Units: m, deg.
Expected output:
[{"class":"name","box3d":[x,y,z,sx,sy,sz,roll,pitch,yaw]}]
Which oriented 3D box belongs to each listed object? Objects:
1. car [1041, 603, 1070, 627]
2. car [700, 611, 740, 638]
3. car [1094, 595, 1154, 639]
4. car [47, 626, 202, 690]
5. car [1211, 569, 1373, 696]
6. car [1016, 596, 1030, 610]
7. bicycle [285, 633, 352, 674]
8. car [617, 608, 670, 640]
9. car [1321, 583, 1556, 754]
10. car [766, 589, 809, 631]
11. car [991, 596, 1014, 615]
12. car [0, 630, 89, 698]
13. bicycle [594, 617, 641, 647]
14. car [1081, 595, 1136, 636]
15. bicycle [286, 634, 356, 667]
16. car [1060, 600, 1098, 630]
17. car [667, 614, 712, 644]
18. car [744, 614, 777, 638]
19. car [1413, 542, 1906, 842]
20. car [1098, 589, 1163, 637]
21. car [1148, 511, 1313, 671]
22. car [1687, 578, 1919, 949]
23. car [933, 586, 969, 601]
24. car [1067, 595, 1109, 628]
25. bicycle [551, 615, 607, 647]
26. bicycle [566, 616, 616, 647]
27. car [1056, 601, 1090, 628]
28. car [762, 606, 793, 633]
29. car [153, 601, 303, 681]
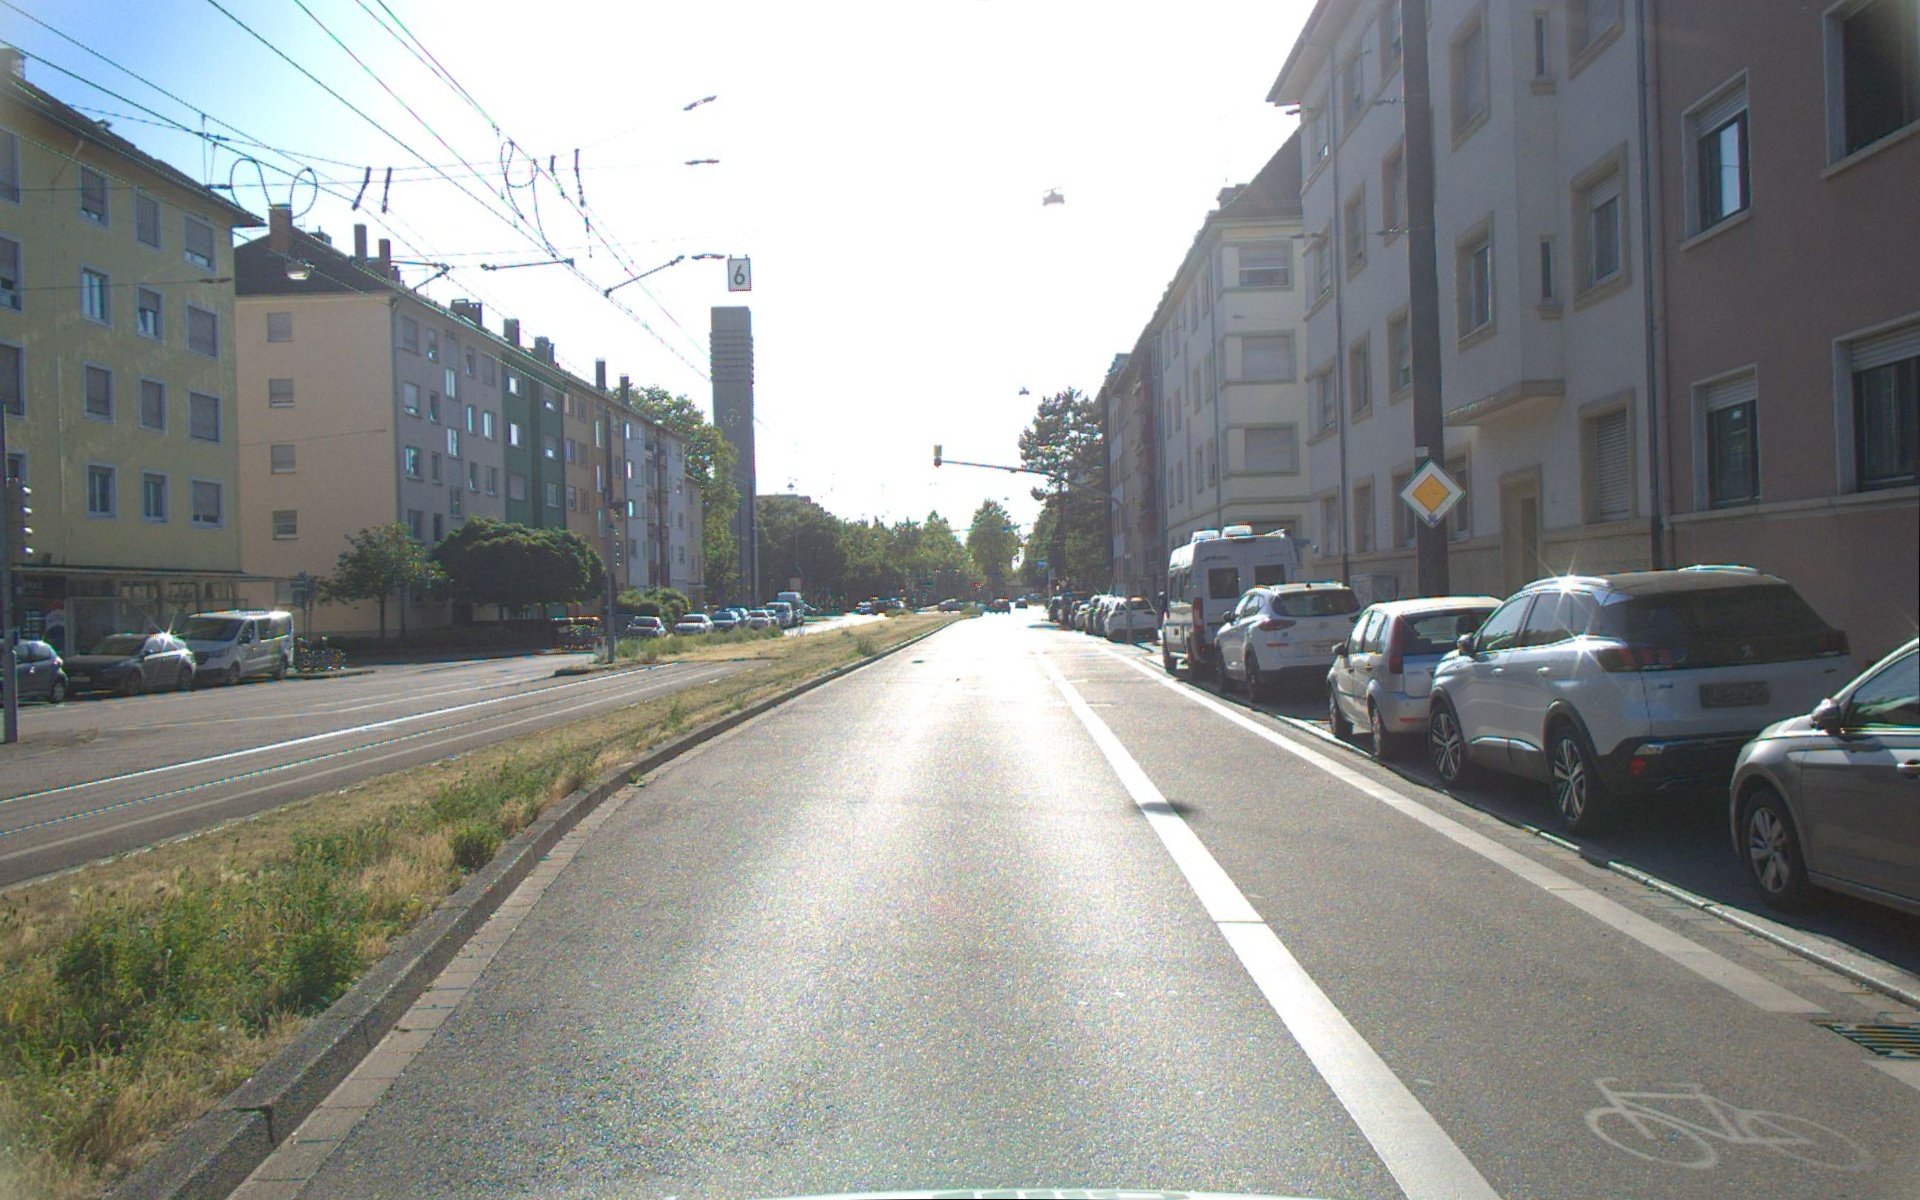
[{"class":"car","box3d":[6.896,1.094,119.299,1.858,1.514,3.739,-2,-2,0]},{"class":"car","box3d":[-15.485,1.592,106.941,1.953,1.581,3.999,-2,-2,-1]},{"class":"car","box3d":[6.316,0.689,63.997,1.858,1.514,3.738,-2,-2,-1]},{"class":"car","box3d":[-21.204,1.481,42.148,1.727,1.514,3.918,-2,-2,4]},{"class":"car","box3d":[4.908,0.461,24.925,1.557,1.663,3.918,-4,0,0]},{"class":"car","box3d":[8.752,0.425,229.907,1.806,1.716,3.999,-2,-2,0]},{"class":"bicycle","box3d":[-20.454,1.702,52.774,1.939,1.227,0.691,-1,-3,-26]},{"class":"car","box3d":[-16.023,1.235,83.915,1.953,1.479,3.998,-2,-2,-1]},{"class":"car","box3d":[4.713,0.622,16.720,1.471,1.450,3.454,-4,0,3]},{"class":"car","box3d":[-14.785,0.924,142.433,2.925,3.295,6.791,-2,-2,-1]},{"class":"car","box3d":[4.485,0.645,176.262,1.955,1.814,3.994,-2,-2,-6]},{"class":"car","box3d":[-21.499,1.442,37.146,1.663,1.451,3.768,-2,-1,4]},{"class":"bicycle","box3d":[-16.078,1.493,77.625,2.093,1.348,0.893,-1,-3,-16]},{"class":"car","box3d":[6.200,0.673,69.315,1.858,1.514,3.738,-2,-2,-1]},{"class":"bicycle","box3d":[-21.057,1.665,54.528,2.037,1.040,0.801,-1,-2,-12]},{"class":"car","box3d":[6.695,0.858,93.342,1.858,1.514,3.739,-2,-2,0]},{"class":"car","box3d":[-15.803,1.713,96.729,1.953,1.609,3.999,-2,-2,-1]},{"class":"car","box3d":[-14.668,1.916,121.803,1.953,1.581,3.999,-2,-2,-1]},{"class":"car","box3d":[4.737,0.548,11.931,1.628,1.672,4.183,-4,0,-1]},{"class":"car","box3d":[6.018,0.489,58.743,1.858,1.514,3.738,-2,-2,-1]},{"class":"car","box3d":[5.120,-0.147,32.110,2.115,2.697,5.643,-4,0,0]},{"class":"car","box3d":[4.829,0.651,6.913,1.737,1.496,4.094,-4,0,1]},{"class":"car","box3d":[-1.115,-0.751,204.656,3.944,1.713,1.980,-1,-3,-30]},{"class":"car","box3d":[6.576,0.610,85.517,1.858,1.514,3.739,-2,-2,0]},{"class":"bicycle","box3d":[-16.886,1.364,73.418,2.262,1.328,0.912,-2,-2,-2]},{"class":"bicycle","box3d":[-16.763,1.442,75.264,2.086,1.348,0.896,-2,-2,-5]},{"class":"car","box3d":[7.066,0.904,104.005,1.858,1.514,3.739,-2,-2,0]},{"class":"car","box3d":[-14.696,1.614,133.637,1.953,1.999,4.750,-2,-2,-1]},{"class":"car","box3d":[-21.218,1.157,48.193,1.962,2.142,5.305,-2,-1,0]}]
